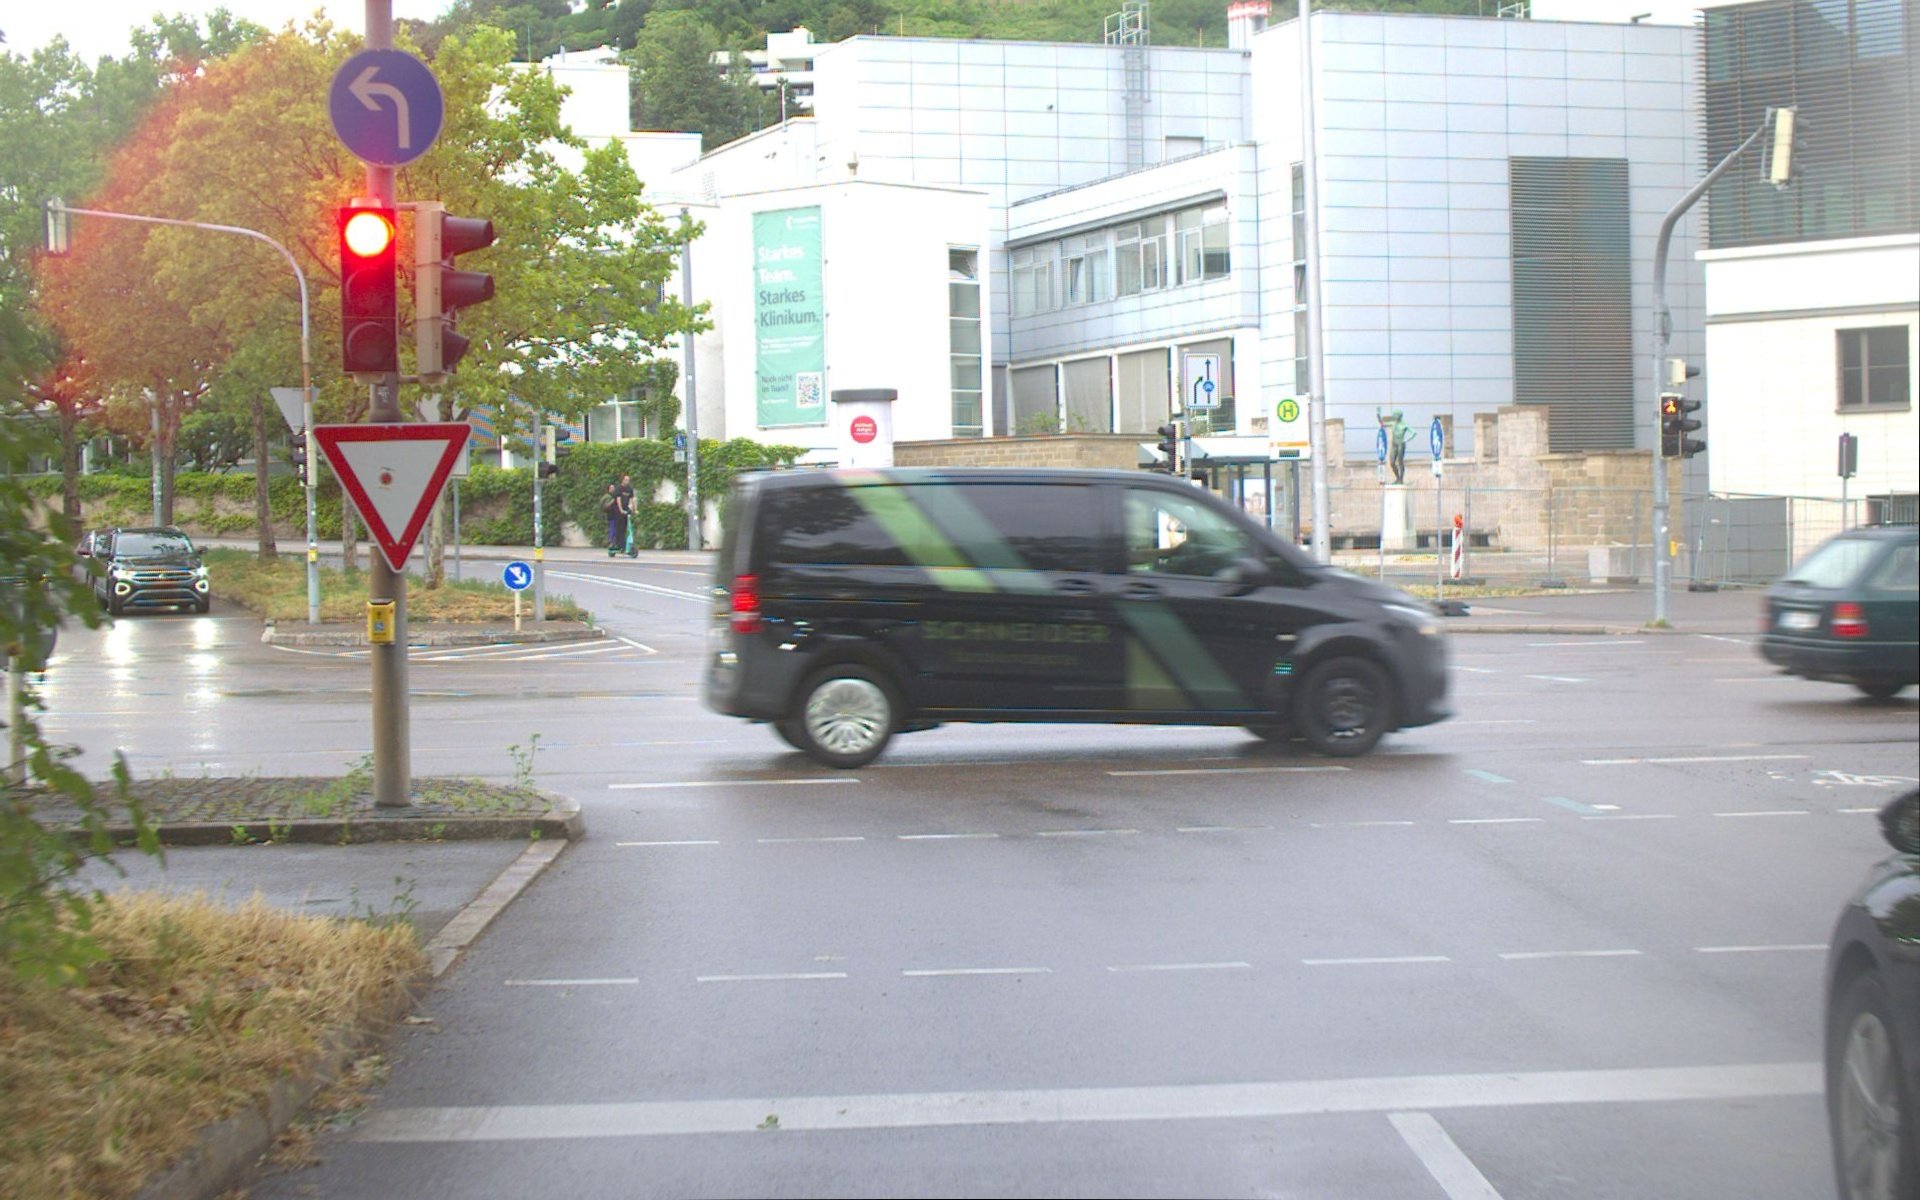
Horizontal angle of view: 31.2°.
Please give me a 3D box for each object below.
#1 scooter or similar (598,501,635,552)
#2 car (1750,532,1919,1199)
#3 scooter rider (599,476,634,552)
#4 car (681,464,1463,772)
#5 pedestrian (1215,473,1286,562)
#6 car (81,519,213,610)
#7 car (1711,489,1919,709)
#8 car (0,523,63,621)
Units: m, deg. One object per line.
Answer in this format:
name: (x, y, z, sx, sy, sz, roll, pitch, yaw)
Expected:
scooter or similar: (-8.604, -1.842, 86.113, 0.591, 1.234, 1.314, 1, 0, -21)
car: (2.596, 0.658, 5.289, 1.670, 1.461, 4.513, 0, 2, -1)
scooter rider: (-8.613, -2.139, 86.135, 0.723, 1.877, 0.632, 1, 0, -20)
car: (0.665, 0.075, 22.461, 4.770, 1.803, 2.001, -1, 2, -9)
pedestrian: (5.666, -1.602, 67.031, 1.257, 1.713, 1.016, 1, 0, -1)
car: (-14.992, -0.689, 63.250, 1.788, 1.579, 4.001, -1, 2, -21)
car: (8.817, -0.071, 27.772, 4.953, 1.667, 2.001, -1, 1, -11)
car: (-16.560, -0.500, 59.324, 1.867, 1.559, 4.278, -2, 3, -17)
